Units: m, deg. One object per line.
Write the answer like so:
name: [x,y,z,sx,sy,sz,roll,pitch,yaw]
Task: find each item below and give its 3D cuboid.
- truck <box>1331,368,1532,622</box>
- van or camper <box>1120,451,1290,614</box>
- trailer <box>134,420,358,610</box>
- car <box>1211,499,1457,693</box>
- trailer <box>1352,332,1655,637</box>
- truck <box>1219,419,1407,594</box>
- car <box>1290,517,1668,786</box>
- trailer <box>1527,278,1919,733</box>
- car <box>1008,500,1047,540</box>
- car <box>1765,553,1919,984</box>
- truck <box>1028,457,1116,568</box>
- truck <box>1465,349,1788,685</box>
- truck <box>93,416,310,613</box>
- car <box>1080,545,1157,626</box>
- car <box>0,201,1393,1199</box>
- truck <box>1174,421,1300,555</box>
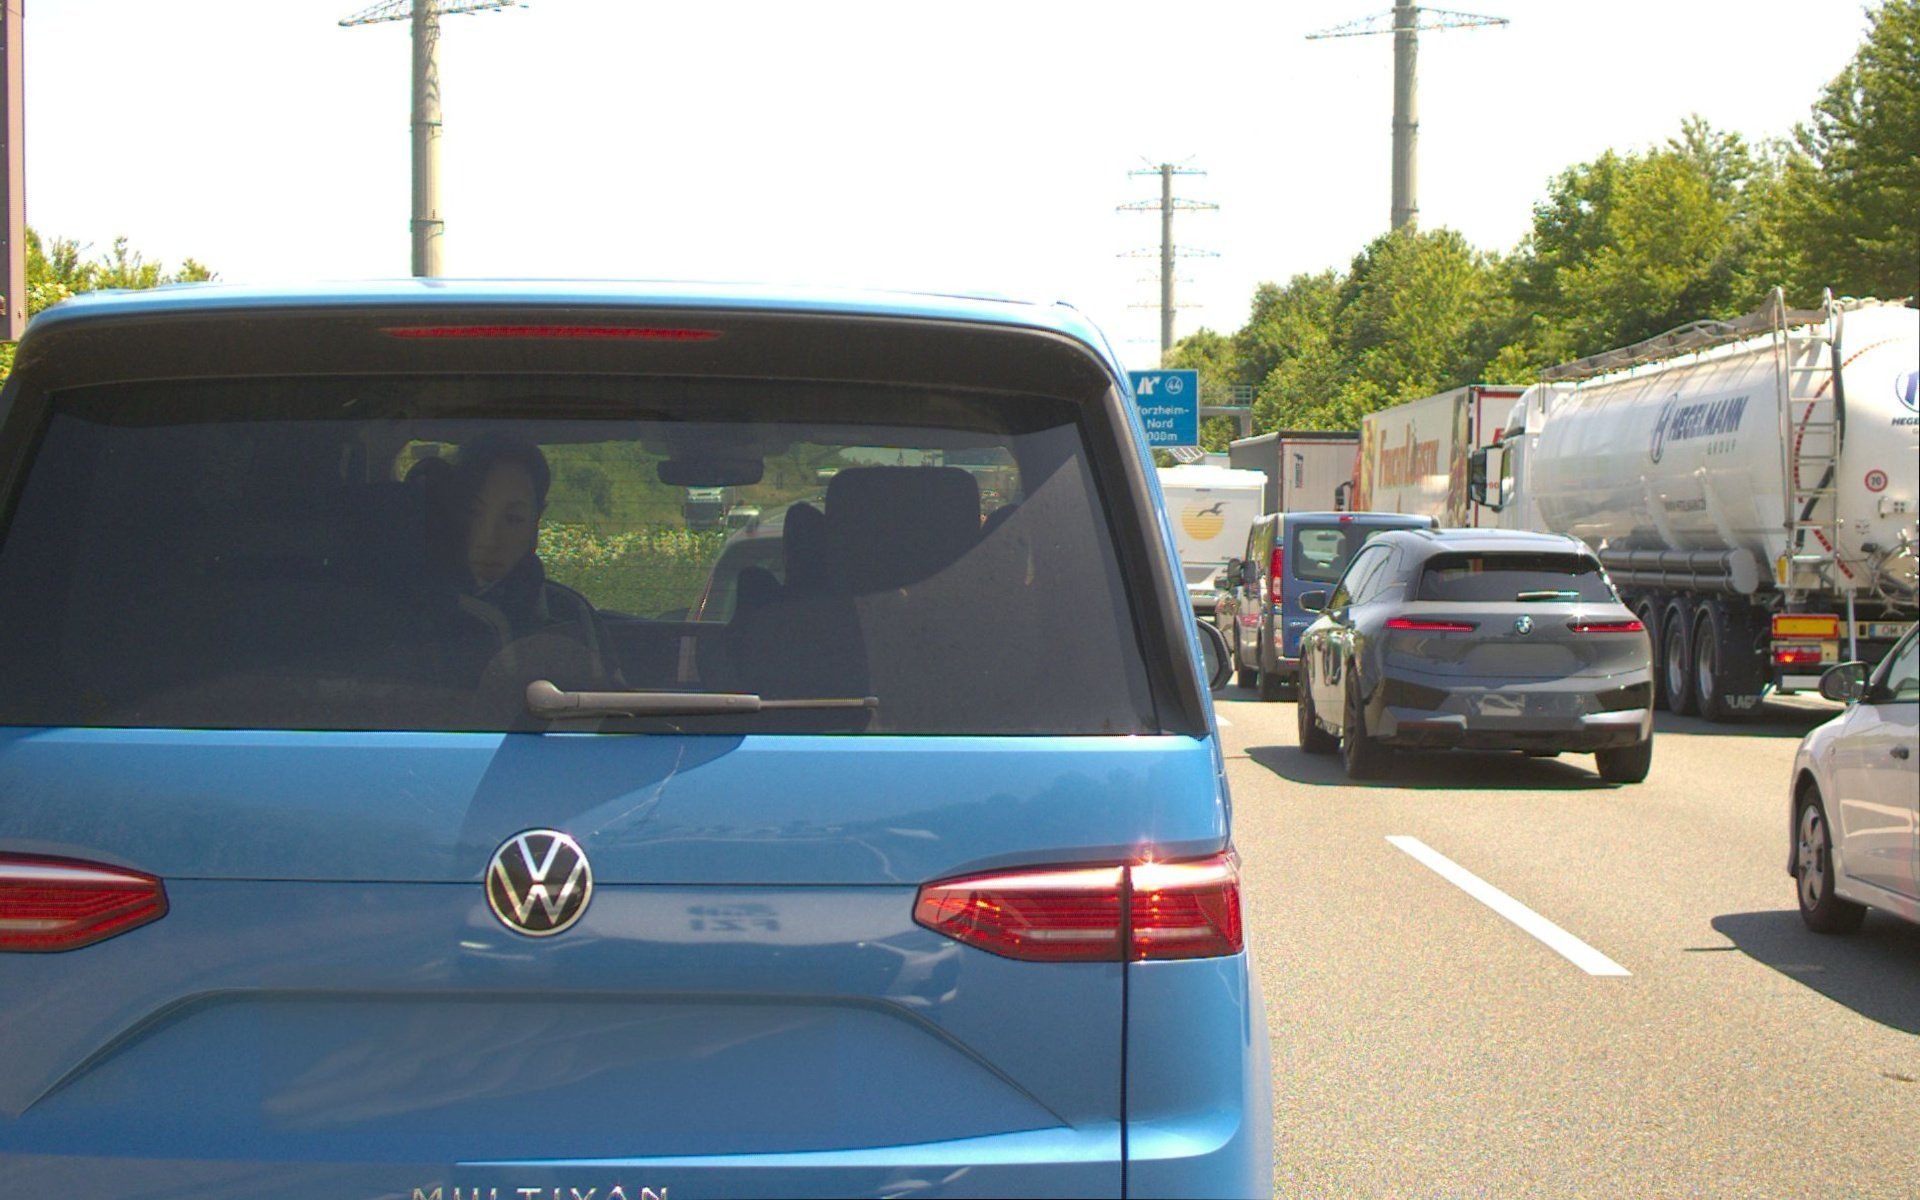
truck: [8.569,-1.877,63.031,2.912,4.453,5.143,0,1,-1]
van or camper: [4.697,-1.287,67.201,2.957,3.011,7.102,0,0,1]
trailer: [-14.795,-1.740,71.856,3.124,3.746,7.870,0,1,-1]
car: [3.937,-0.047,36.860,1.923,1.919,4.236,-1,0,-3]
trailer: [8.652,-1.777,56.426,2.912,4.453,12.155,0,1,-1]
truck: [8.153,-2.080,81.541,3.006,3.753,15.713,0,0,1]
car: [3.538,0.324,24.293,1.999,1.709,4.625,0,0,1]
trailer: [8.134,-0.881,34.789,2.761,3.831,11.487,0,1,-1]
car: [3.672,-4.339,187.519,1.993,2.118,4.000,0,0,-1]
car: [4.206,0.572,12.216,1.817,1.480,4.000,0,0,1]
truck: [3.885,-2.999,121.587,2.895,3.753,10.140,0,0,1]
truck: [8.024,-0.982,42.052,2.793,3.823,5.572,0,1,-1]
truck: [-14.750,-1.645,67.286,3.071,3.697,5.463,0,1,-1]
car: [4.030,-0.369,87.959,1.836,1.992,4.000,-1,0,1]
car: [-0.483,0.455,5.977,1.920,1.880,4.000,1,1,0]
truck: [8.334,-3.296,104.882,2.895,3.753,13.345,0,0,1]
